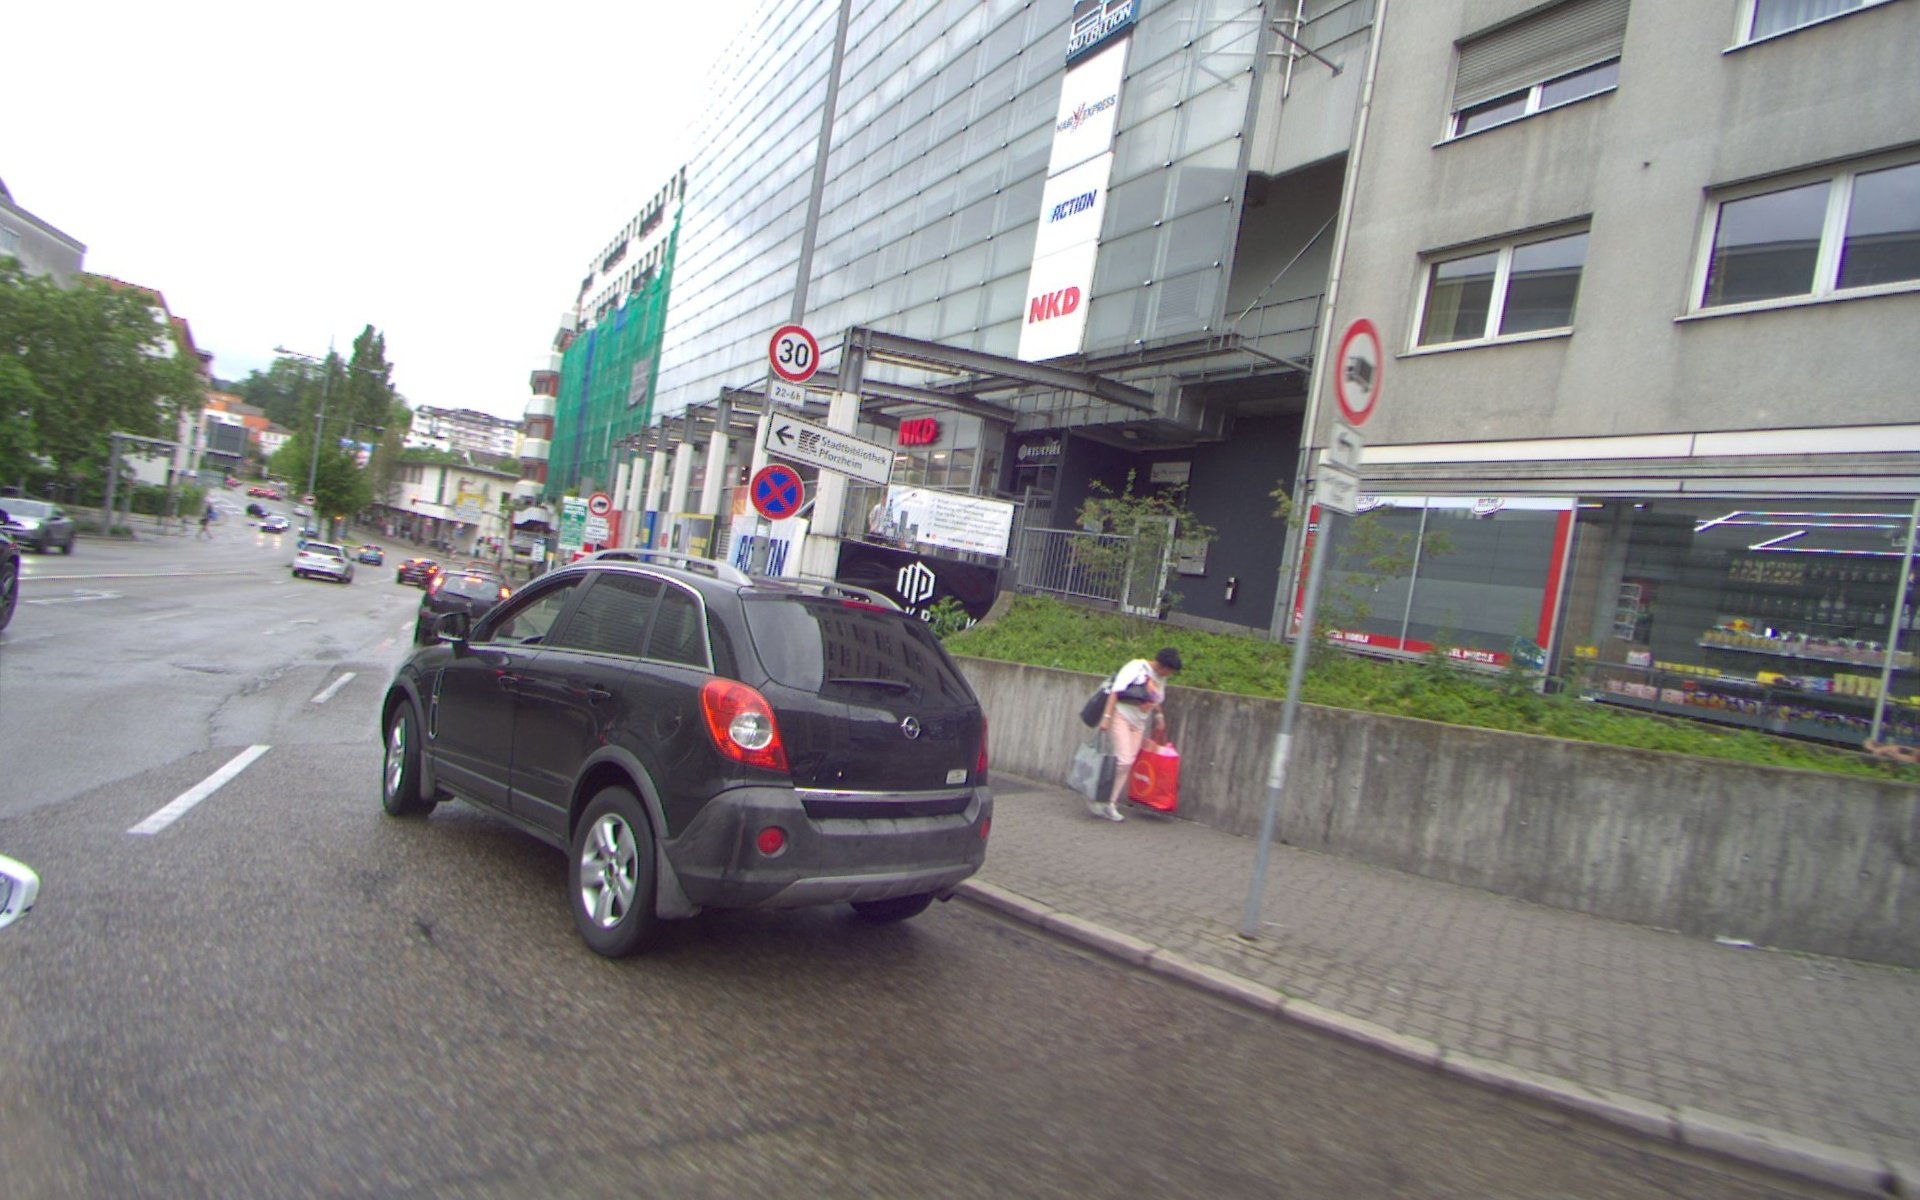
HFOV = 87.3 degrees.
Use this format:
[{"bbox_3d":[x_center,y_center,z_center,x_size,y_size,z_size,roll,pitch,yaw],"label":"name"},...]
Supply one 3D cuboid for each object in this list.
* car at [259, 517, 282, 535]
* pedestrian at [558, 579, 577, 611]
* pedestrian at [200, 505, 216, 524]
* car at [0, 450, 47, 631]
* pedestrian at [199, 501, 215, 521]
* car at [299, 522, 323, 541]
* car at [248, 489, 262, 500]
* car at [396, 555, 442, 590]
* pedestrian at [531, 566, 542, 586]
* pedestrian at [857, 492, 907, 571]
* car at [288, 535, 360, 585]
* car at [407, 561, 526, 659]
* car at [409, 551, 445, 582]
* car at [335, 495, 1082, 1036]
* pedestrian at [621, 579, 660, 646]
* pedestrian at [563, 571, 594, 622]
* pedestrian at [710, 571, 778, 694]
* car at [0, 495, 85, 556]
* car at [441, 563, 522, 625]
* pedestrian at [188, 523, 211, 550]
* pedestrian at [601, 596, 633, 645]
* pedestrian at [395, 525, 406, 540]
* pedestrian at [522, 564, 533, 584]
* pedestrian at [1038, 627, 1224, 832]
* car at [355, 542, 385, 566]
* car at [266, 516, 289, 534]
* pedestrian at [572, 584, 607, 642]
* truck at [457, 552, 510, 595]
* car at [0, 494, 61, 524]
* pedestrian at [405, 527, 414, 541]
[{"bbox_3d":[-68.615,-7.366,100.136,1.698,1.467,3.824,10,-2,-35],"label":"car"},{"bbox_3d":[-21.573,-0.261,55.284,0.631,1.669,0.563,6,-1,14],"label":"pedestrian"},{"bbox_3d":[-74.882,-8.516,100.187,0.553,1.627,0.926,7,0,21],"label":"pedestrian"},{"bbox_3d":[-9.952,-0.668,8.760,2.077,1.837,4.749,11,-3,-34],"label":"car"},{"bbox_3d":[-75.907,-8.952,101.424,0.616,1.824,0.906,7,0,21],"label":"pedestrian"},{"bbox_3d":[-66.145,-6.939,102.587,1.809,1.567,3.966,10,-2,-32],"label":"car"},{"bbox_3d":[-124.446,-18.567,177.537,1.742,1.572,3.531,10,-2,-38],"label":"car"},{"bbox_3d":[-29.767,-1.536,55.285,1.802,1.457,3.966,11,-2,-32],"label":"car"},{"bbox_3d":[-39.294,-2.229,93.296,0.574,1.720,0.643,7,0,-42],"label":"pedestrian"},{"bbox_3d":[-1.828,-1.583,23.578,0.818,1.708,0.594,7,0,-28],"label":"pedestrian"},{"bbox_3d":[-25.448,-1.596,40.371,1.935,1.592,3.972,10,-2,-28],"label":"car"},{"bbox_3d":[-9.618,0.134,19.759,1.704,1.435,3.747,12,-3,-25],"label":"car"},{"bbox_3d":[-34.631,-2.189,65.285,1.749,1.560,3.967,10,-1,-30],"label":"car"},{"bbox_3d":[-1.695,0.550,5.710,4.242,1.807,1.905,8,-1,42],"label":"car"},{"bbox_3d":[-8.915,0.336,28.068,0.826,1.743,0.615,7,0,-19],"label":"pedestrian"},{"bbox_3d":[-13.896,-0.139,36.636,0.826,1.743,0.826,7,0,-19],"label":"pedestrian"},{"bbox_3d":[-3.528,0.512,16.378,0.594,1.863,1.004,7,1,-30],"label":"pedestrian"},{"bbox_3d":[-27.684,-2.214,29.686,1.825,1.571,4.065,6,0,-28],"label":"car"},{"bbox_3d":[-15.884,-0.243,33.279,1.937,1.592,3.969,10,-2,-30],"label":"car"},{"bbox_3d":[-57.917,-4.852,76.610,1.052,1.904,0.834,8,0,-22],"label":"pedestrian"},{"bbox_3d":[-9.244,0.538,27.133,0.683,1.222,0.551,8,0,-19],"label":"pedestrian"},{"bbox_3d":[-73.967,-8.940,132.915,0.843,1.824,1.044,7,0,-42],"label":"pedestrian"},{"bbox_3d":[-39.956,-2.424,92.945,0.573,1.720,0.644,7,0,-38],"label":"pedestrian"},{"bbox_3d":[1.468,1.075,8.693,1.050,1.551,1.016,4,2,-39],"label":"pedestrian"},{"bbox_3d":[-46.467,-3.656,79.259,1.782,1.485,3.968,10,-2,-31],"label":"car"},{"bbox_3d":[-72.392,-7.987,106.701,1.770,1.567,3.960,10,-2,-36],"label":"car"},{"bbox_3d":[-9.896,0.332,26.885,0.737,1.455,0.594,6,0,-19],"label":"pedestrian"},{"bbox_3d":[-28.897,-1.647,60.910,2.169,2.106,5.558,9,-2,-31],"label":"truck"},{"bbox_3d":[-69.710,-6.888,74.433,4.579,1.498,1.920,12,-3,-40],"label":"car"},{"bbox_3d":[-73.282,-8.779,133.951,0.700,1.824,0.927,7,0,-42],"label":"pedestrian"}]
